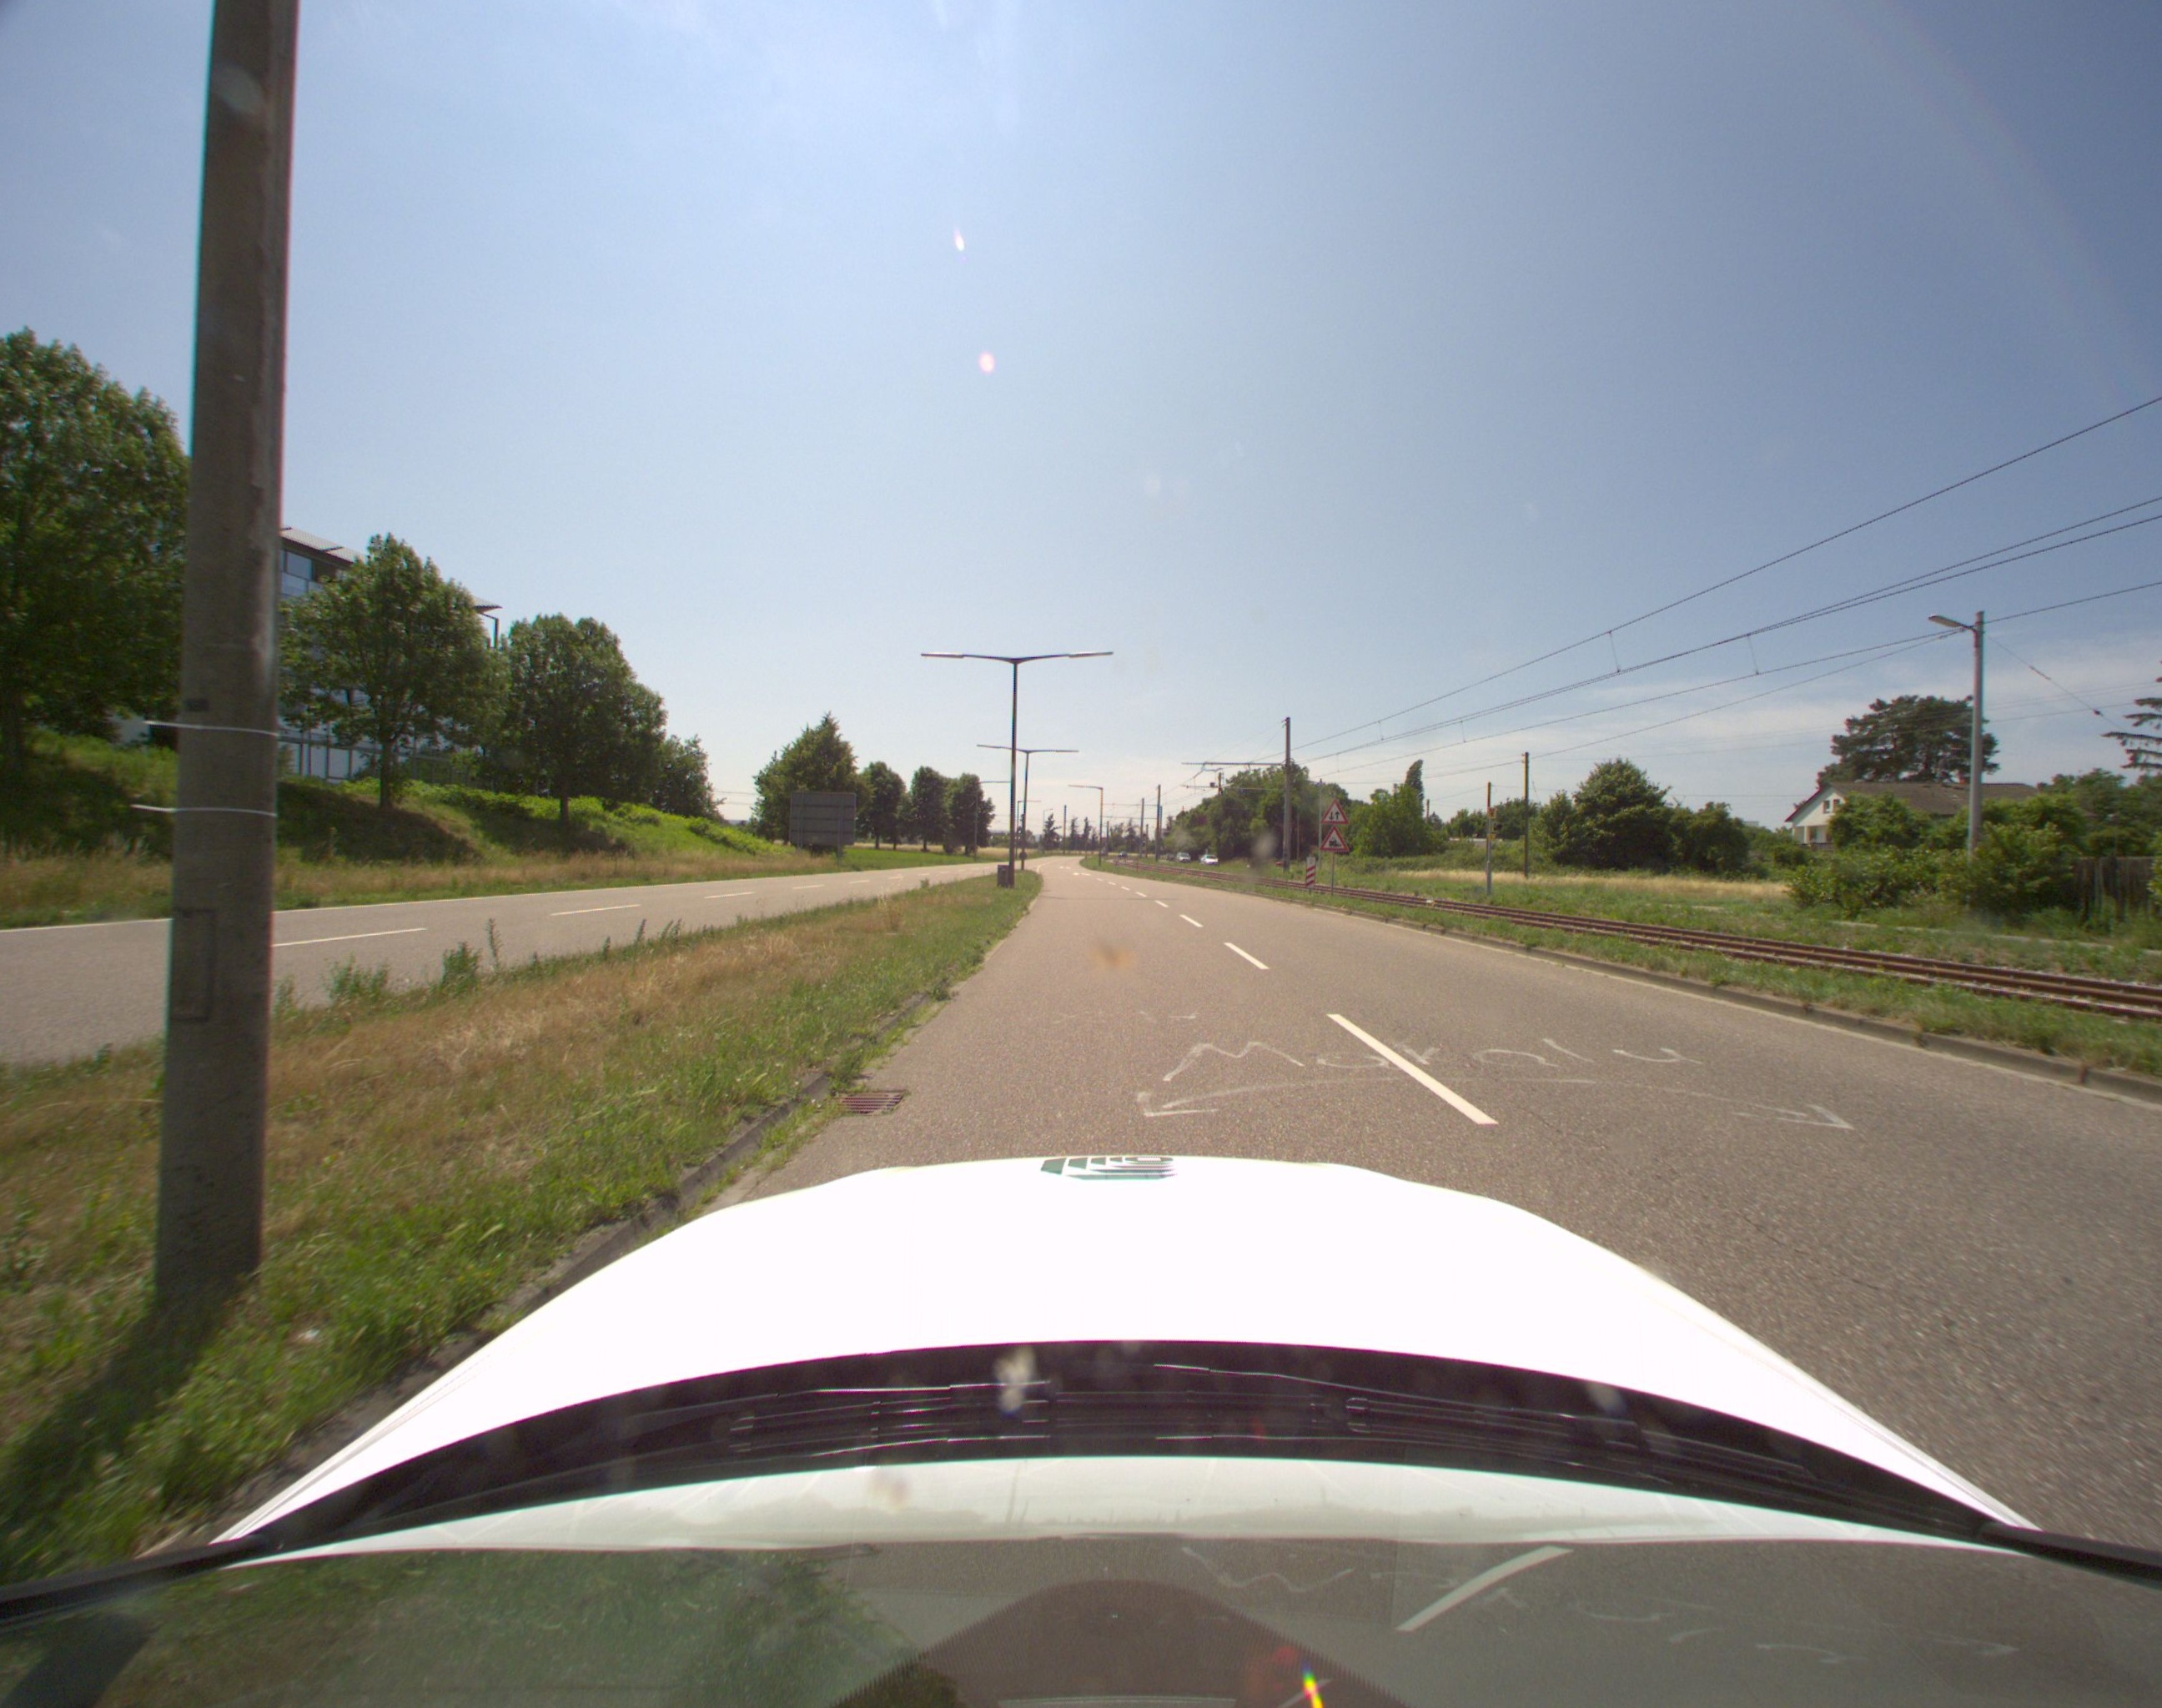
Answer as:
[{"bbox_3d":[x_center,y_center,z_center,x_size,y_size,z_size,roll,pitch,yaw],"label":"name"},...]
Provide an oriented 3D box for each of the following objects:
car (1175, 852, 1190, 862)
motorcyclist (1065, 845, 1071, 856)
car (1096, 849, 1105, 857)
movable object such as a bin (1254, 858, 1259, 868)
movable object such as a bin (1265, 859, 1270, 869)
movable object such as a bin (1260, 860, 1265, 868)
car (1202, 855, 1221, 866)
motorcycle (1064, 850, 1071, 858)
[{"bbox_3d":[15.078,0.495,121.112,1.668,1.397,3.646,3,0,-3],"label":"car"},{"bbox_3d":[-2.805,-0.702,175.613,1.225,2.351,1.108,3,-1,4],"label":"motorcyclist"},{"bbox_3d":[4.801,-0.307,198.081,1.393,1.772,3.266,3,-1,15],"label":"car"},{"bbox_3d":[19.597,1.031,91.005,0.521,1.050,0.500,1,0,9],"label":"movable object such as a bin"},{"bbox_3d":[20.825,1.099,90.878,0.521,1.050,0.500,1,0,9],"label":"movable object such as a bin"},{"bbox_3d":[20.254,1.150,90.896,0.521,0.864,0.500,1,0,9],"label":"movable object such as a bin"},{"bbox_3d":[15.615,0.788,97.522,1.560,1.179,3.074,1,0,-5],"label":"car"},{"bbox_3d":[-2.854,-0.072,175.423,0.985,1.580,3.404,3,0,5],"label":"motorcycle"}]
